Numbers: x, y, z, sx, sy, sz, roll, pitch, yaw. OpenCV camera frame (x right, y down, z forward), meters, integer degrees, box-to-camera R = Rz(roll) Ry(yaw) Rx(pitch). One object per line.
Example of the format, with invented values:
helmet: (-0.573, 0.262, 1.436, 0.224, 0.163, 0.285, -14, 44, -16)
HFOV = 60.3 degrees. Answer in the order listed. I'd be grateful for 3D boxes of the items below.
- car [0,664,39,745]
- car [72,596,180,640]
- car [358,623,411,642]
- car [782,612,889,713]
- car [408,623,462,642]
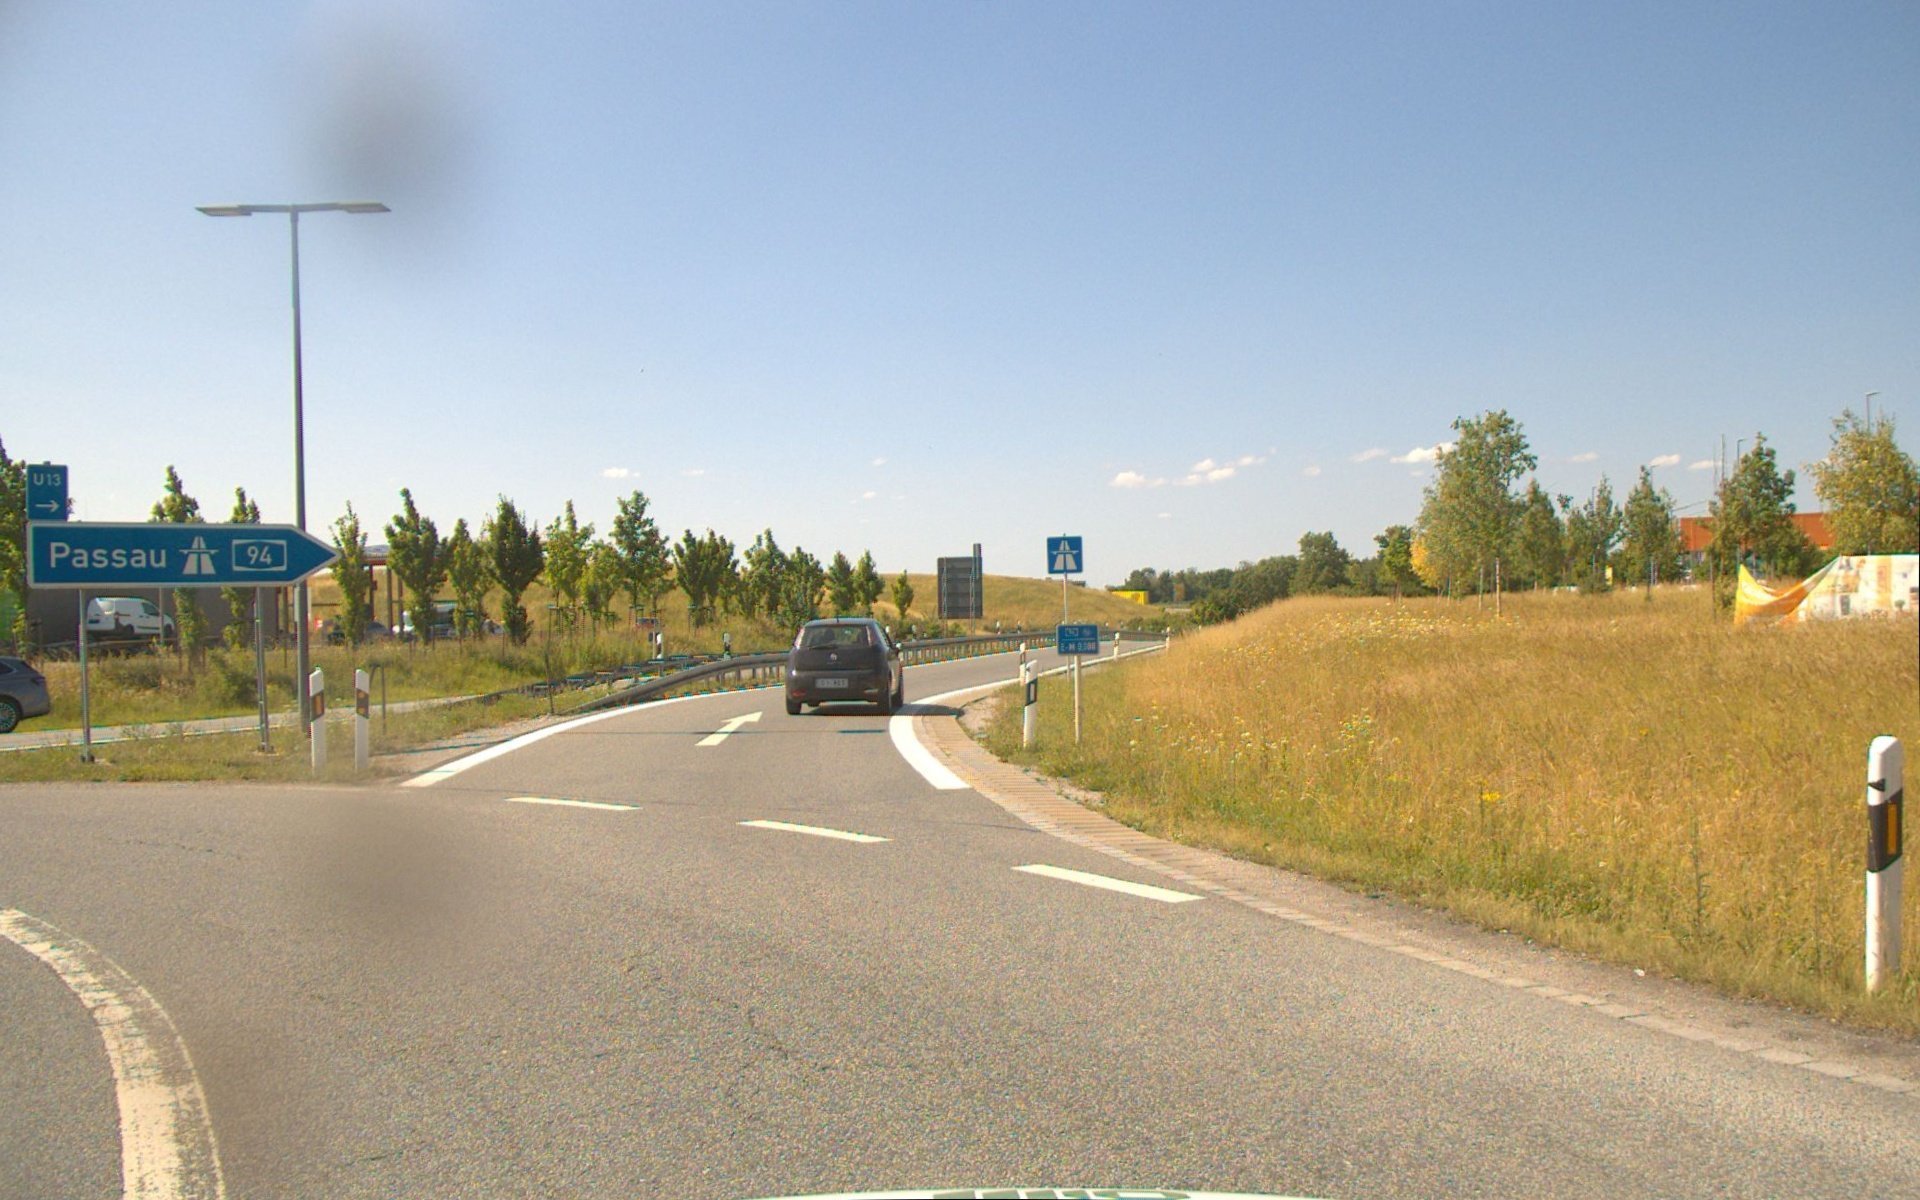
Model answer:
car: (-18.857, 1.953, 29.148, 1.656, 1.438, 4.359, -2, 0, 30)
car: (-35.416, 0.750, 70.330, 1.951, 1.762, 4.003, -2, 0, 14)
car: (-33.537, 1.899, 96.387, 2.643, 1.026, 1.247, -2, 0, 8)
car: (-1.999, 0.971, 27.101, 1.607, 1.514, 3.902, -1, -1, -3)
car: (-30.981, 1.896, 97.596, 2.643, 1.026, 1.383, -2, 0, 8)
